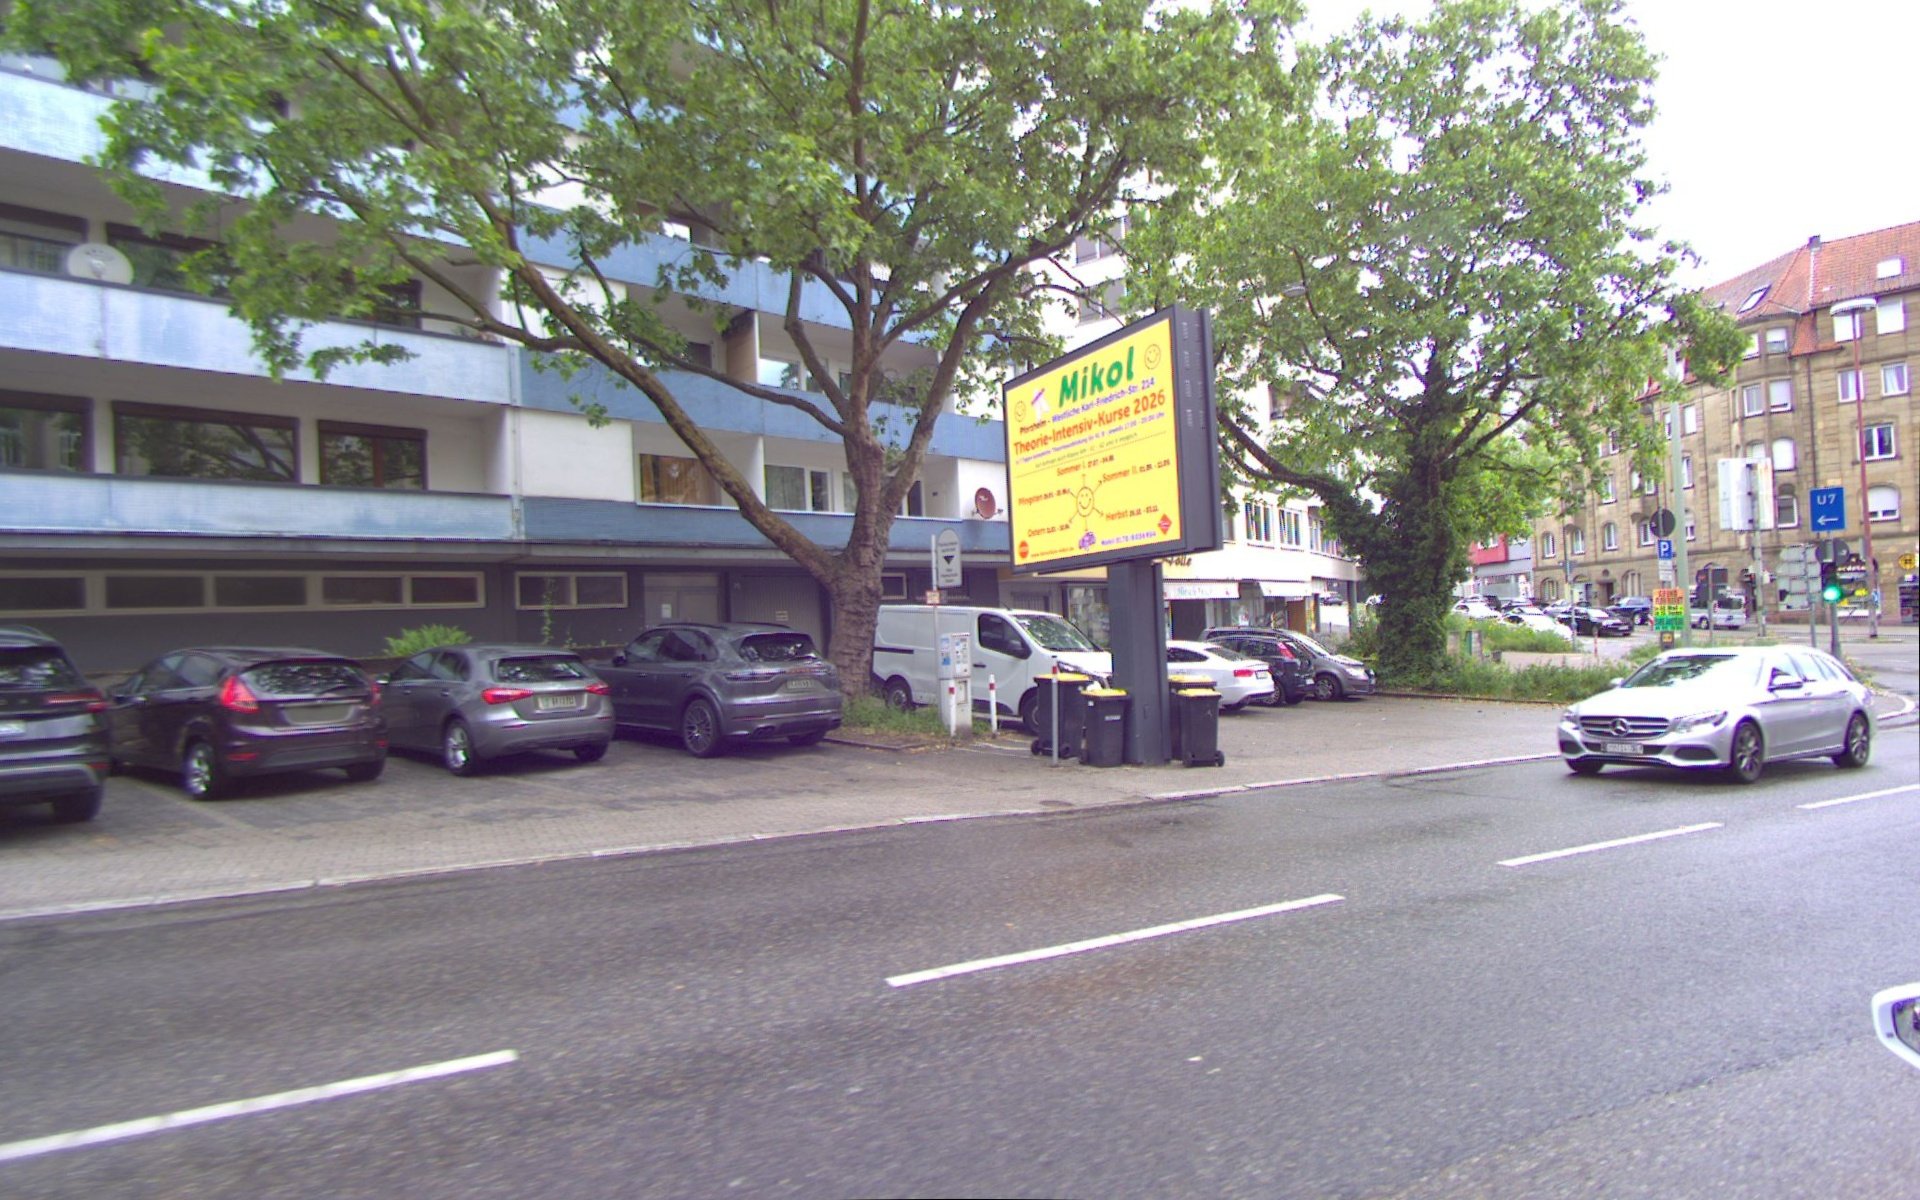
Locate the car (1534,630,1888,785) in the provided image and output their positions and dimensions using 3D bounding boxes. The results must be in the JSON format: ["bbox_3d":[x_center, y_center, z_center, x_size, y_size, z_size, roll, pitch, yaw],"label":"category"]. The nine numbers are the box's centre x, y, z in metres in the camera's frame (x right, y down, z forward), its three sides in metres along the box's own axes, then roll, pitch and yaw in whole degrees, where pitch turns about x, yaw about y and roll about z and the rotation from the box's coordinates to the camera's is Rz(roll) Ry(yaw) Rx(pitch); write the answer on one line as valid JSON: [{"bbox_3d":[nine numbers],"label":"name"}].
[{"bbox_3d":[9.001,1.192,11.959,4.419,1.546,1.730,1,-5,-30],"label":"car"}]

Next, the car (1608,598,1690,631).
[{"bbox_3d":[41.343,0.820,60.359,1.961,1.863,4.292,0,1,-1],"label":"car"}]

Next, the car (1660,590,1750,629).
[{"bbox_3d":[42.791,0.512,57.840,1.961,2.130,4.292,0,1,-1],"label":"car"}]

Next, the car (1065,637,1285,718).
[{"bbox_3d":[4.368,1.531,20.746,4.122,1.475,1.786,-1,-3,41],"label":"car"}]

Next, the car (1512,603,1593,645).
[{"bbox_3d":[29.866,1.264,50.751,1.841,2.040,4.002,0,-2,2],"label":"car"}]

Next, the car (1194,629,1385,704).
[{"bbox_3d":[7.960,1.547,24.435,4.072,1.675,1.762,-1,-2,38],"label":"car"}]

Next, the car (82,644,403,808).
[{"bbox_3d":[-7.932,1.227,11.001,3.929,1.449,1.692,-1,-2,36],"label":"car"}]

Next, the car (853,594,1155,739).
[{"bbox_3d":[0.627,1.049,17.117,5.001,2.132,1.983,-1,-3,41],"label":"car"}]

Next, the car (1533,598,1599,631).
[{"bbox_3d":[42.250,0.967,70.126,1.961,2.130,4.292,0,1,-1],"label":"car"}]

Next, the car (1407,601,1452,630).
[{"bbox_3d":[34.207,1.124,73.286,1.545,2.040,4.001,0,-1,3],"label":"car"}]

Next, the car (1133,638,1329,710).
[{"bbox_3d":[6.074,1.604,22.694,3.926,1.469,1.761,-1,-3,41],"label":"car"}]

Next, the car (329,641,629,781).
[{"bbox_3d":[-6.045,1.250,12.497,3.870,1.449,1.742,-1,-2,36],"label":"car"}]

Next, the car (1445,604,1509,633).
[{"bbox_3d":[33.864,1.212,65.927,1.961,1.749,4.250,-2,-1,0],"label":"car"}]

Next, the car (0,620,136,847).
[{"bbox_3d":[-8.934,1.030,8.747,4.312,1.694,1.847,-1,-2,39],"label":"car"}]

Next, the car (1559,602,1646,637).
[{"bbox_3d":[33.849,0.988,53.056,1.960,1.749,4.250,-1,0,2],"label":"car"}]

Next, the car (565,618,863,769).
[{"bbox_3d":[-3.562,1.185,14.145,4.305,1.807,1.930,-1,-3,41],"label":"car"}]
